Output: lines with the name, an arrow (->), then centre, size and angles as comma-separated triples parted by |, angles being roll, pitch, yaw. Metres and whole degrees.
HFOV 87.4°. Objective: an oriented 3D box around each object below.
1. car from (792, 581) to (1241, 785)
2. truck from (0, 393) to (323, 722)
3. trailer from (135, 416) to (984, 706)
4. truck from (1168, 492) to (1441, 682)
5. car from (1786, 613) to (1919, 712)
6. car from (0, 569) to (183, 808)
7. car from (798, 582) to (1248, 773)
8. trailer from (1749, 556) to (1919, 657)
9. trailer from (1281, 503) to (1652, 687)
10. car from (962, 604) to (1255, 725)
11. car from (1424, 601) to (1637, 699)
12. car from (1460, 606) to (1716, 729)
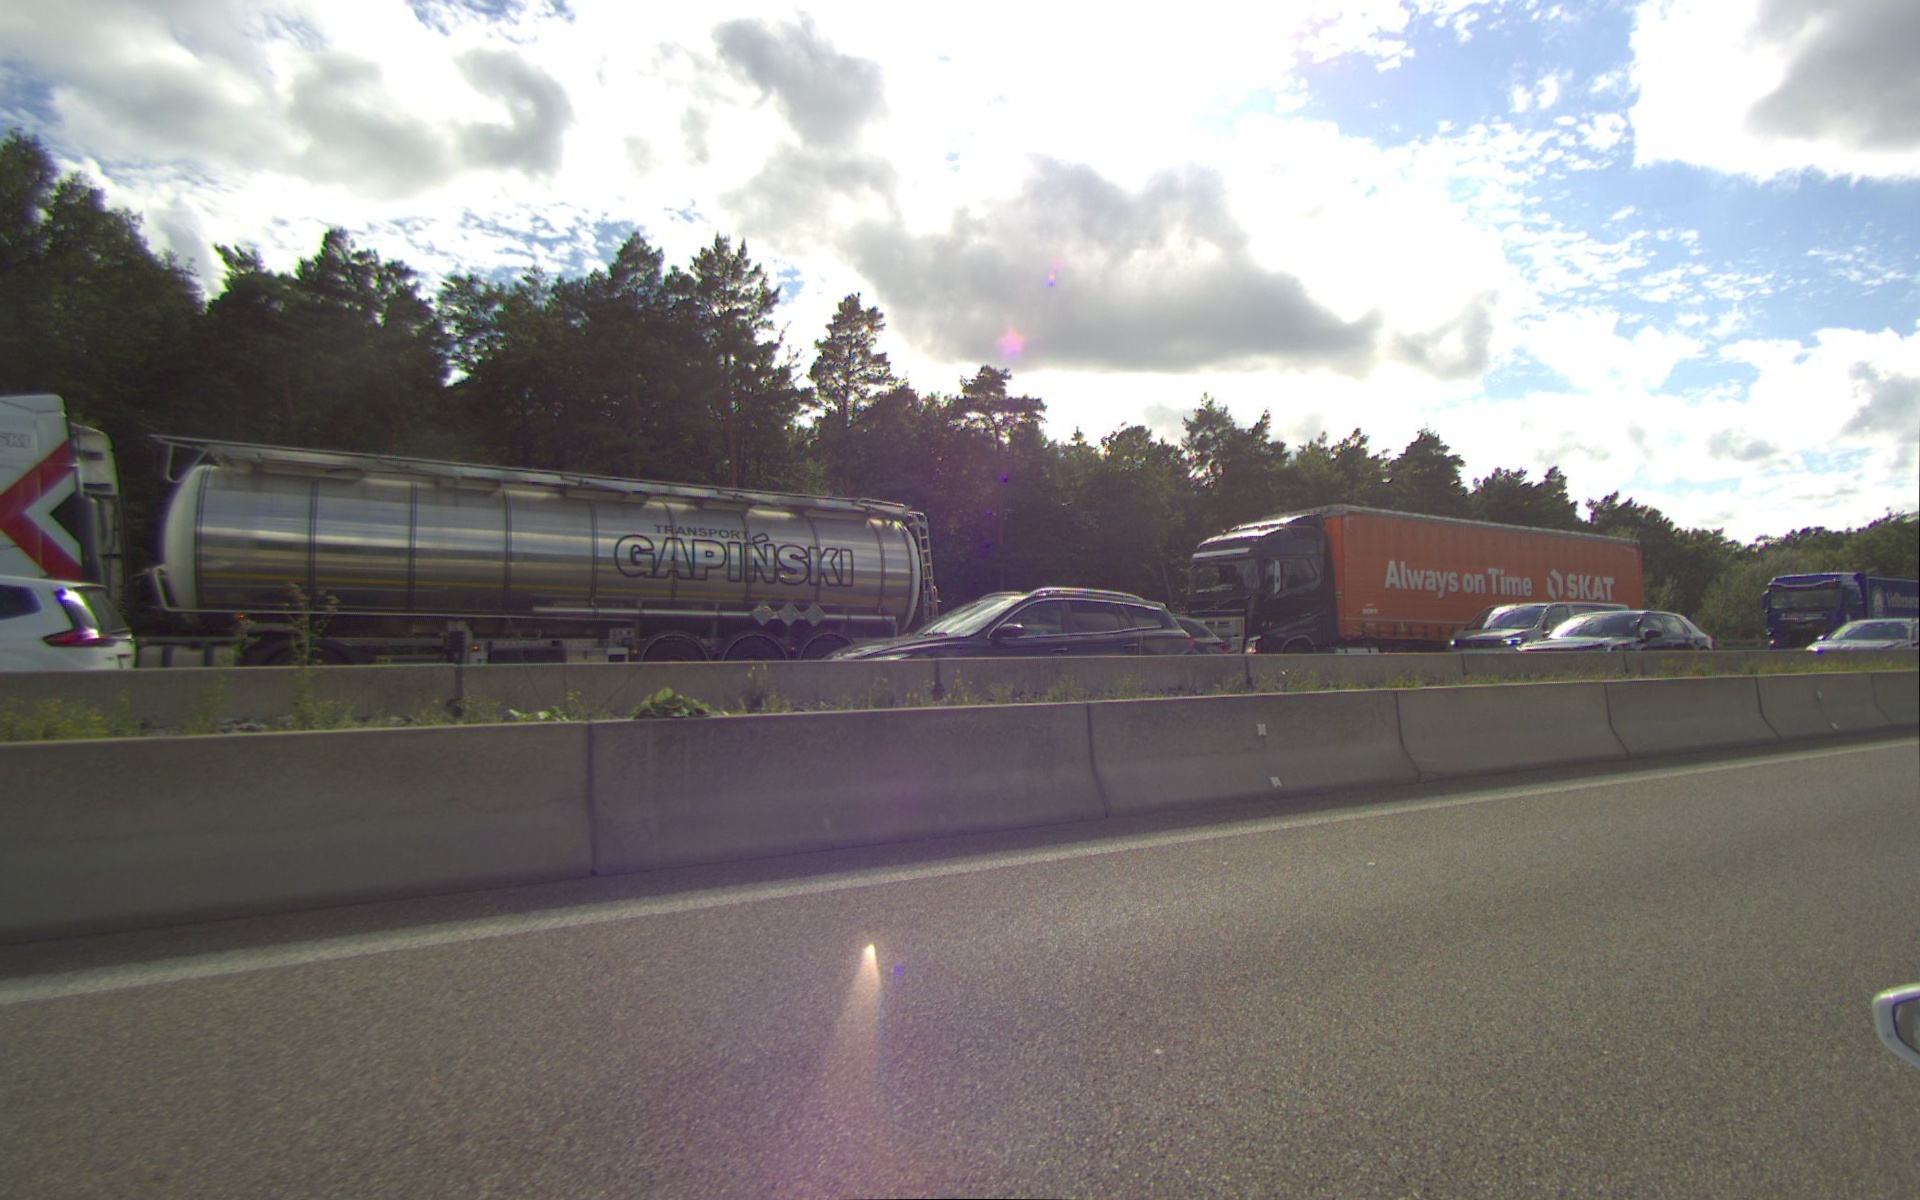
car -> 0.726, 0.825, 11.344 | 4.843, 1.907, 1.809 | 1, 0, -29
truck -> -11.441, -0.482, 13.123 | 5.049, 3.797, 2.942 | 1, 0, -30
trailer -> -5.540, -0.316, 16.618 | 12.089, 3.544, 2.935 | 2, 0, -31
truck -> 8.512, -0.220, 24.606 | 6.639, 4.125, 2.601 | 1, 0, -30
car -> 20.953, 1.383, 22.915 | 4.628, 2.040, 1.735 | 2, 0, -30
car -> -10.016, 0.763, 9.135 | 4.429, 2.134, 1.807 | 1, 0, -32
car -> 0.796, 0.767, 11.301 | 4.843, 1.769, 1.809 | 1, 0, -29
trailer -> 36.105, 0.326, 40.836 | 10.100, 3.707, 2.874 | 1, 0, -30
trailer -> 14.647, 0.055, 28.246 | 13.024, 4.377, 2.626 | 2, 0, -31
car -> 2.577, 1.010, 16.960 | 4.846, 1.787, 1.808 | 1, -1, -31
car -> 13.025, 1.106, 22.856 | 4.932, 1.986, 1.984 | 2, 0, -30
car -> 11.115, 1.108, 17.670 | 4.846, 1.907, 1.808 | 1, 0, -31
